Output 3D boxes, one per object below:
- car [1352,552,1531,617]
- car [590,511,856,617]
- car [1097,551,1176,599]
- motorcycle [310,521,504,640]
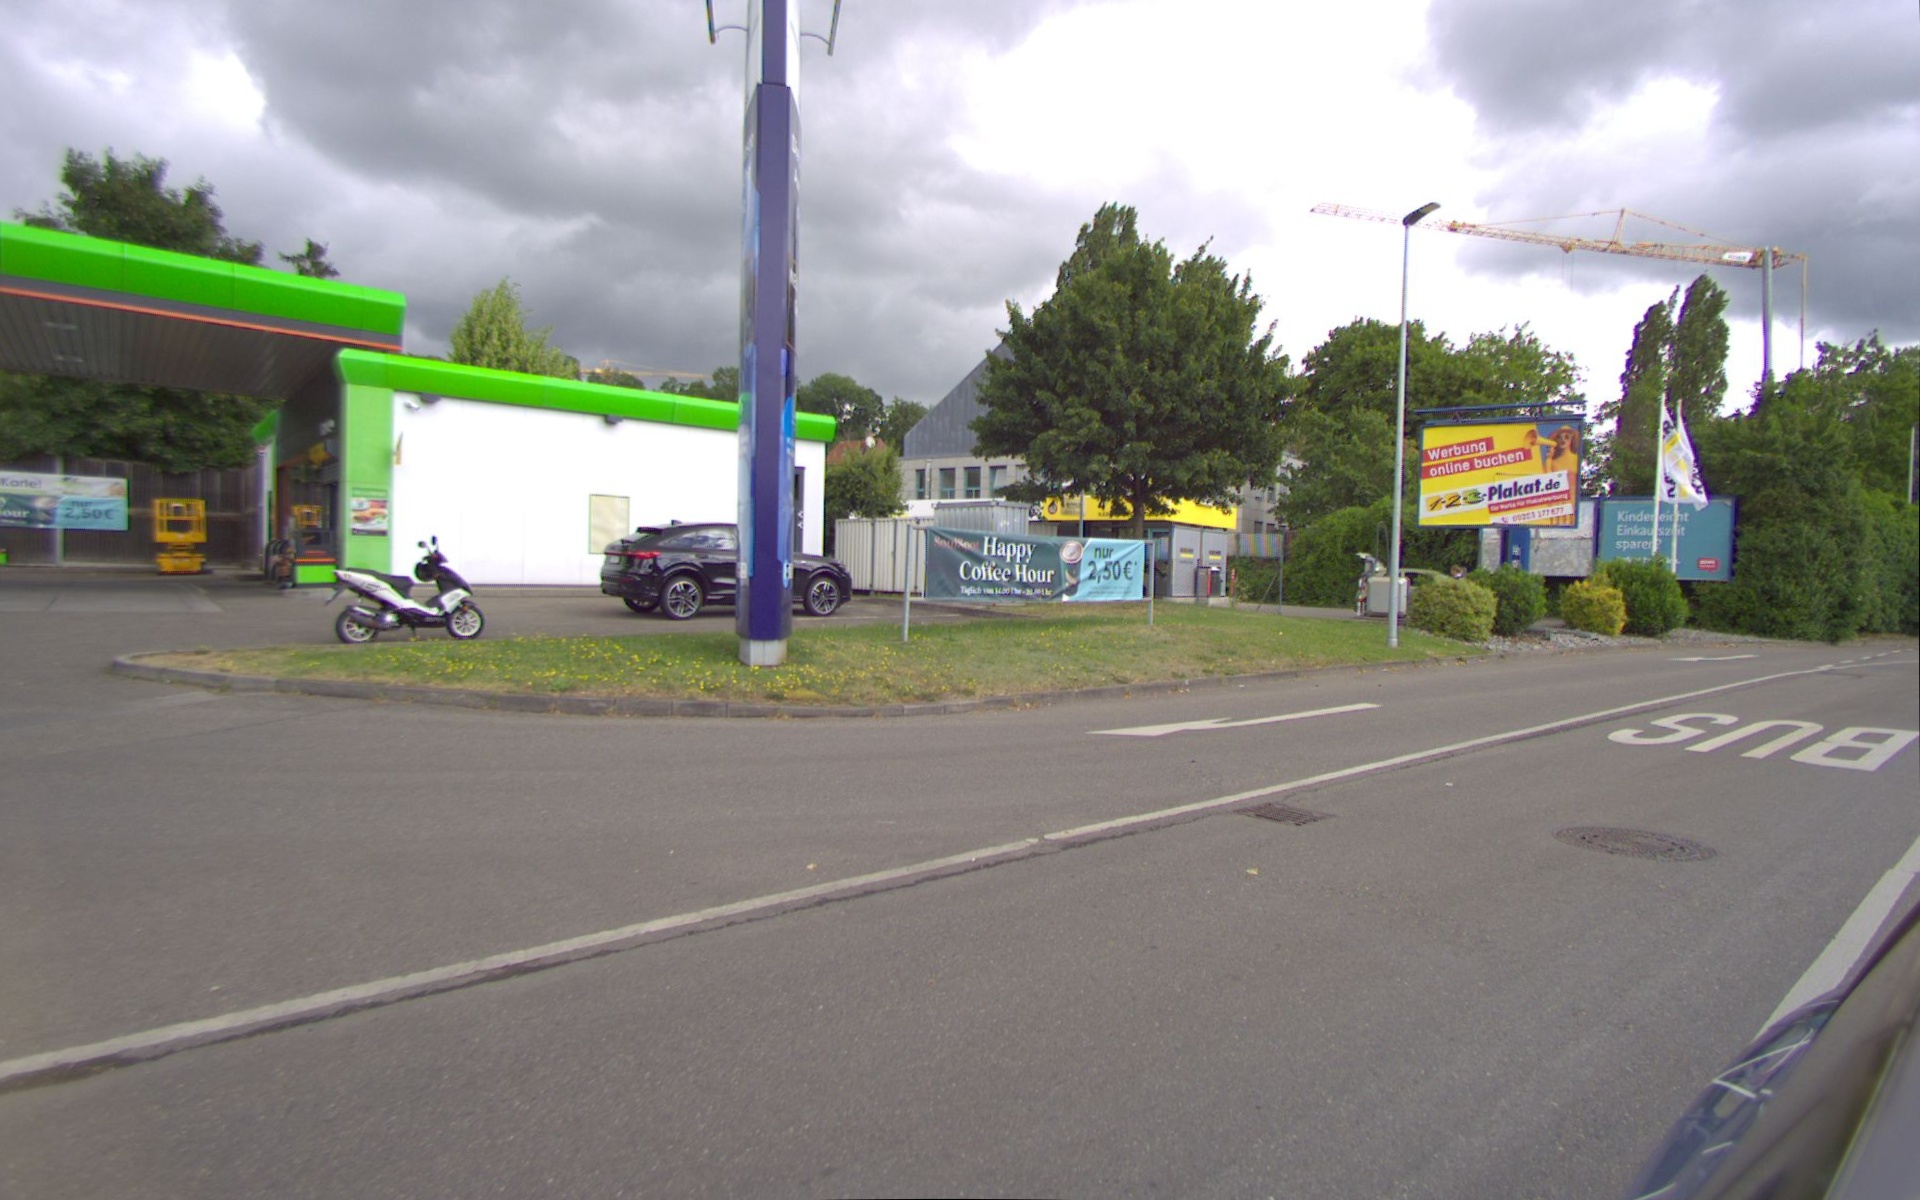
[{"bbox_3d":[14.018,-0.477,29.520,4.017,1.676,2.900,4,3,43],"label":"car"},{"bbox_3d":[-4.181,-0.658,18.154,4.257,1.694,1.827,-1,4,-37],"label":"car"},{"bbox_3d":[6.503,-0.912,37.009,1.620,1.660,3.490,3,2,32],"label":"car"},{"bbox_3d":[-6.775,-0.240,12.447,1.955,1.347,0.857,0,2,-41],"label":"motorcycle"}]
